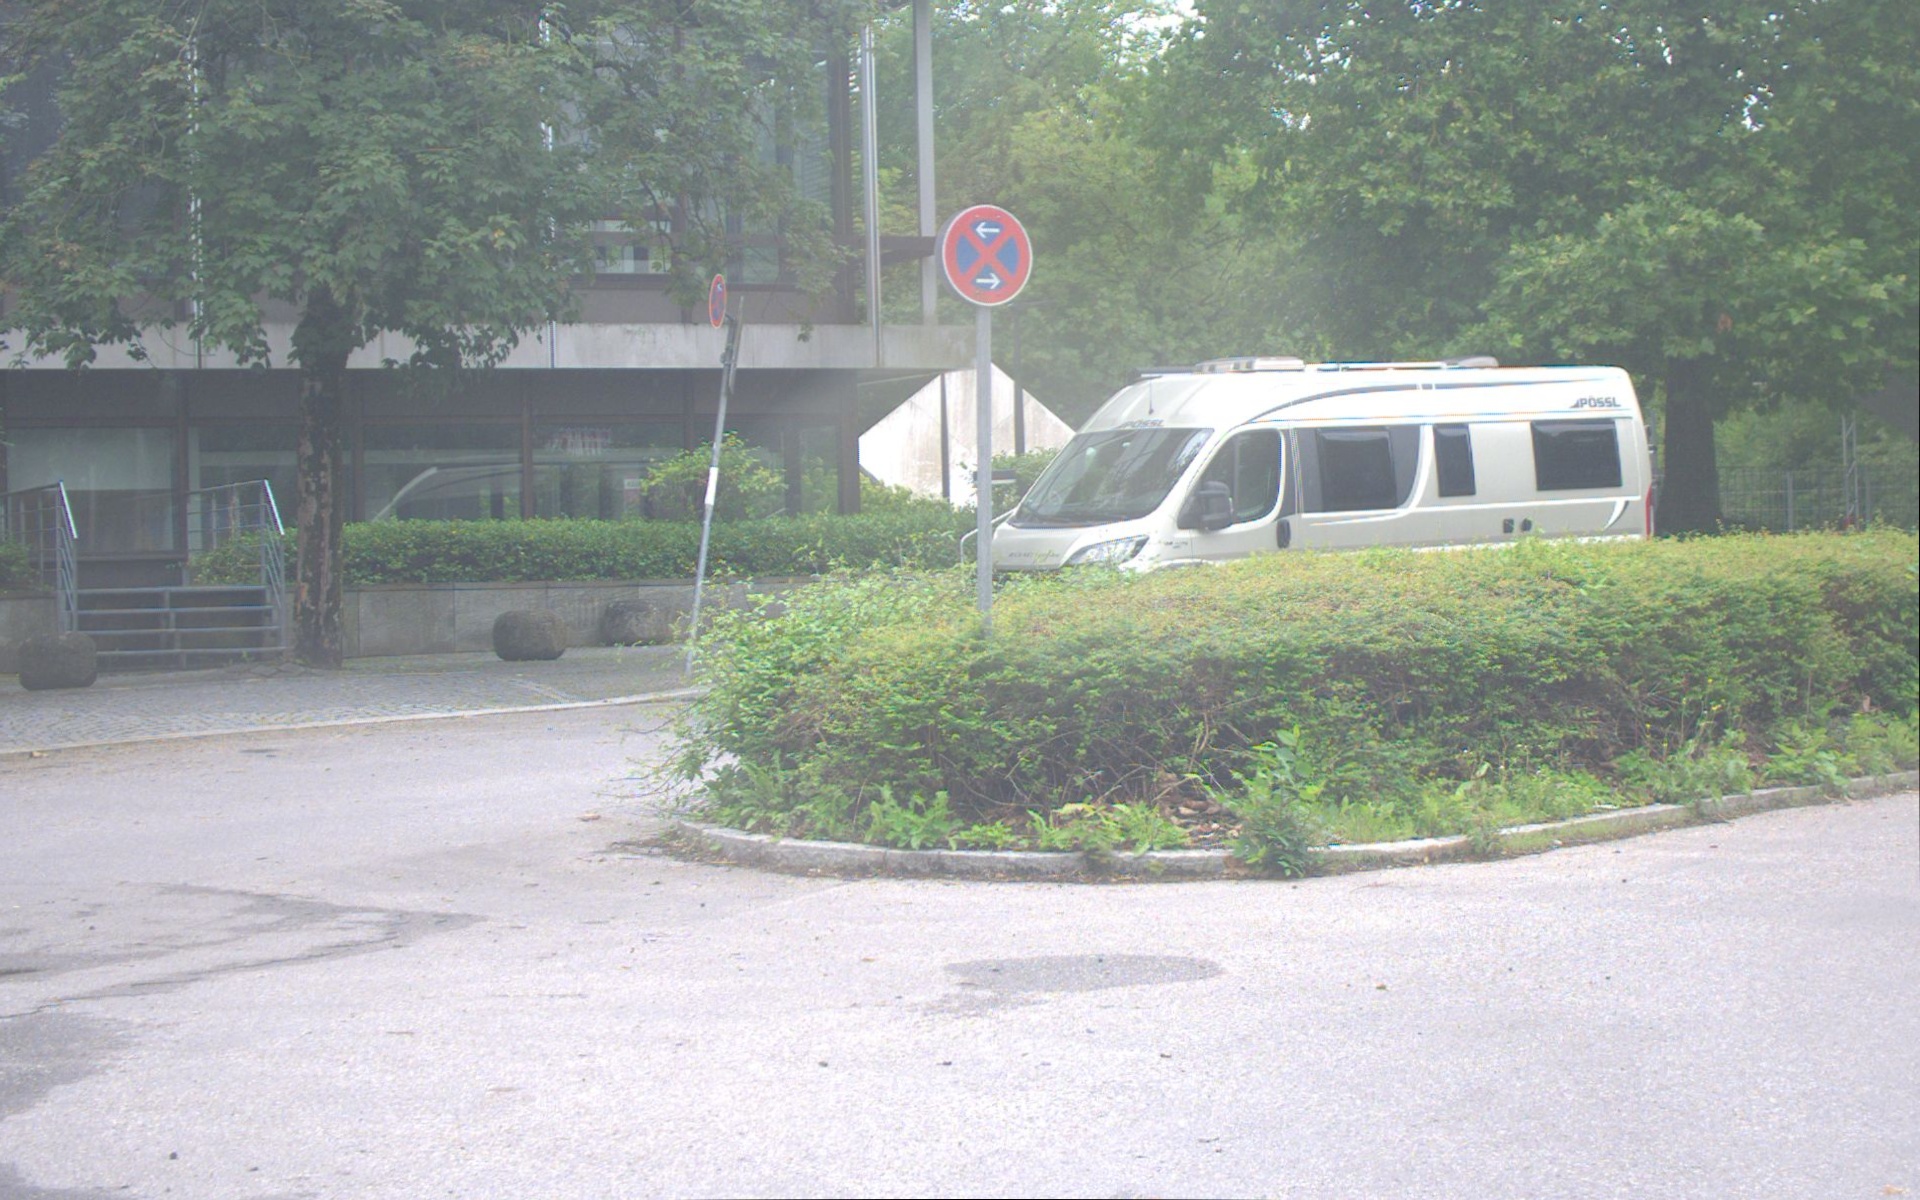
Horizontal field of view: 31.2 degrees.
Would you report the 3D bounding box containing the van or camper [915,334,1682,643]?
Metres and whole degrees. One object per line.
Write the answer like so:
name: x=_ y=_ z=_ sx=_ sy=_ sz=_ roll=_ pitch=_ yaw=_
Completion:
van or camper: x=2.891 y=-0.917 z=28.120 sx=6.400 sy=2.273 sz=2.254 roll=-2 pitch=2 yaw=-37
